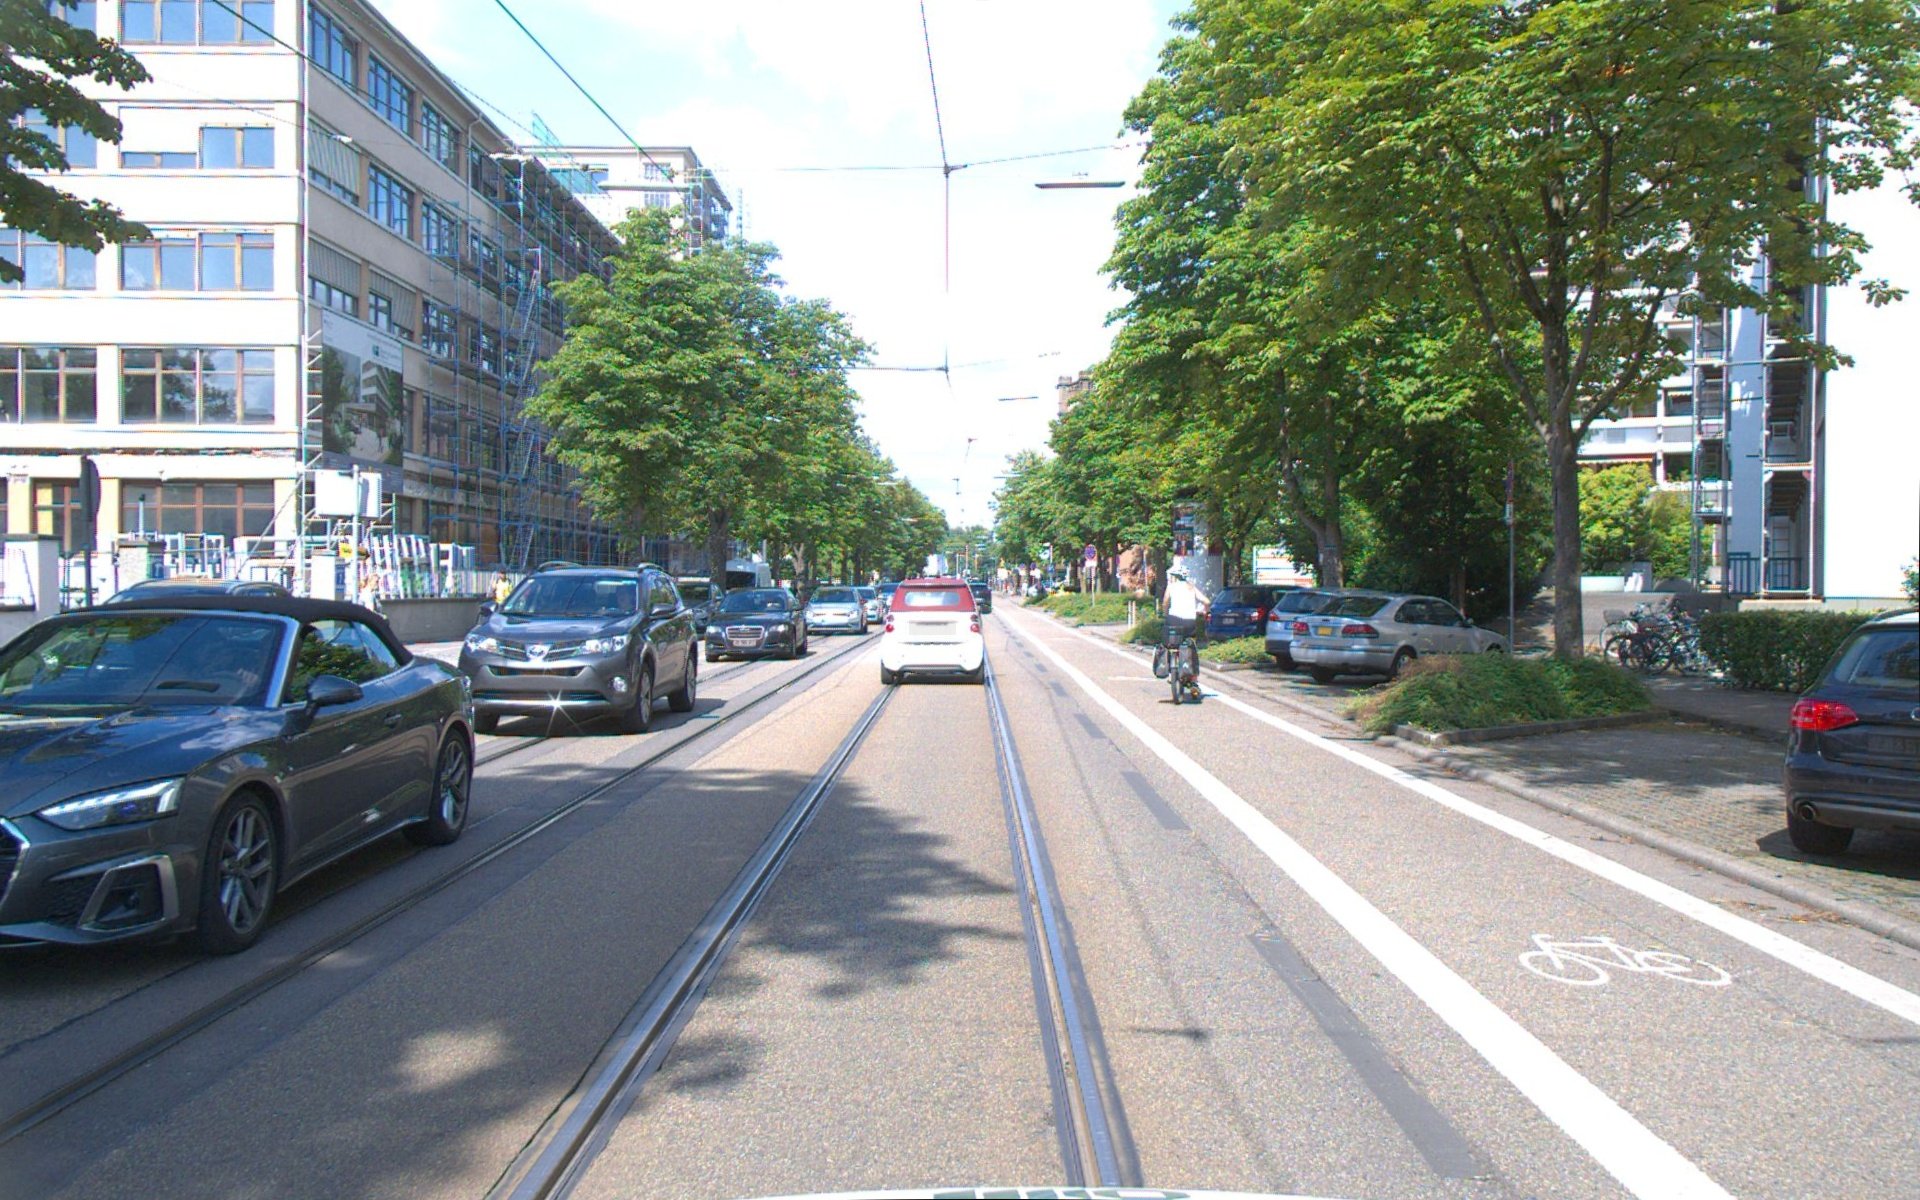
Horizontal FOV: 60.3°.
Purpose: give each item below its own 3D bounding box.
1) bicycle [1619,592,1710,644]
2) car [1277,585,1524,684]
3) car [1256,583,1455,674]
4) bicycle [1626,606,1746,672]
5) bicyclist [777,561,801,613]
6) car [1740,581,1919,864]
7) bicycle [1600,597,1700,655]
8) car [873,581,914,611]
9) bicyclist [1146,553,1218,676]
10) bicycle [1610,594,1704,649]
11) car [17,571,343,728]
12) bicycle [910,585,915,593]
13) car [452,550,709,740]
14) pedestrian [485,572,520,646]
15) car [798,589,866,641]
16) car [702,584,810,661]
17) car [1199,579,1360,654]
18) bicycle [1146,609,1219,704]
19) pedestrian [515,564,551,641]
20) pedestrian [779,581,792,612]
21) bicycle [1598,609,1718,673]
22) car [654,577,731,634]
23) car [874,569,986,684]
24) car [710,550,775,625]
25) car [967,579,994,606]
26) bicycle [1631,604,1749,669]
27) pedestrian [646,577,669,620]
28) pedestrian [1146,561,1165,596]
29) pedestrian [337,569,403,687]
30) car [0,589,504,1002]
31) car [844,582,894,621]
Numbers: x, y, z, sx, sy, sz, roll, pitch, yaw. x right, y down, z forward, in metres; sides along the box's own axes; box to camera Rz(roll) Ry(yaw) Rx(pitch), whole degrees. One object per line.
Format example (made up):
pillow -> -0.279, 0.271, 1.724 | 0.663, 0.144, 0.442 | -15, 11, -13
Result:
bicycle -> 15.400, 0.387, 36.175 | 1.793, 1.115, 0.450 | 0, 1, 31
car -> 7.180, 0.509, 26.769 | 4.200, 1.445, 1.700 | 0, 2, -38
car -> 7.177, 0.484, 29.880 | 3.772, 1.500, 1.628 | 0, 1, -42
bicycle -> 12.693, 0.673, 28.933 | 1.861, 1.115, 0.450 | -1, 1, 31
bicyclist -> -7.009, -0.526, 67.726 | 0.859, 2.049, 0.833 | -2, -1, -1
car -> 6.665, 0.695, 10.211 | 1.998, 1.467, 4.504 | 2, 0, 44
bicycle -> 13.778, 0.514, 33.050 | 1.793, 1.114, 0.450 | -1, 3, 31
car -> -3.523, -0.206, 88.741 | 1.762, 1.534, 4.538 | 1, 0, 3
bicyclist -> 2.914, 0.182, 21.810 | 0.871, 1.555, 1.086 | 1, 0, 6
bicycle -> 14.808, 0.446, 35.143 | 1.793, 1.115, 0.450 | 1, 1, 31
car -> -8.697, 0.491, 18.937 | 1.714, 1.543, 4.589 | 2, 0, -3
bicycle -> -5.646, -1.302, 196.780 | 0.606, 0.990, 1.716 | 0, 1, -4
car -> -3.883, 0.402, 17.673 | 1.788, 1.757, 4.390 | -1, 0, -1
pedestrian -> -11.566, 0.222, 41.848 | 0.693, 1.824, 0.661 | 1, 0, -6
car -> -3.812, 0.424, 49.826 | 1.737, 1.441, 3.851 | -2, 0, -1
car -> -4.042, 0.421, 33.332 | 1.688, 1.400, 3.999 | -2, 0, -1
car -> 7.105, 0.338, 36.594 | 1.589, 1.512, 3.973 | -1, 1, 44
bicycle -> 2.907, 0.711, 21.778 | 0.856, 1.145, 2.137 | 1, 0, 6
pedestrian -> -10.781, 0.060, 41.776 | 0.693, 1.863, 0.661 | 3, 1, -6
pedestrian -> -11.817, -0.229, 111.986 | 0.788, 2.049, 0.484 | 0, 0, -9
bicycle -> 12.118, 0.710, 28.727 | 1.861, 1.071, 0.450 | -1, 1, 31
car -> -8.523, 0.164, 52.980 | 1.768, 1.691, 4.103 | 2, 0, 0
car -> -0.452, 0.356, 25.779 | 1.631, 1.653, 3.620 | 0, 1, -1
car -> -8.334, -0.469, 63.653 | 1.733, 2.685, 5.322 | 1, 0, 0
car -> 1.247, -0.475, 102.576 | 1.631, 1.653, 3.620 | 0, 1, 0
bicycle -> 12.947, 0.647, 29.363 | 1.861, 1.115, 0.450 | -1, 1, 31
pedestrian -> -11.856, -0.049, 64.736 | 0.749, 1.648, 0.594 | 1, 0, 0
pedestrian -> 11.781, -1.276, 99.647 | 0.957, 2.049, 1.093 | 1, 0, -1
pedestrian -> -8.454, 0.395, 23.683 | 0.718, 1.665, 0.684 | 2, 0, -34
car -> -3.687, 0.671, 7.959 | 1.762, 1.412, 4.426 | 0, 1, 0
car -> -3.428, 0.036, 62.921 | 1.652, 1.430, 4.226 | 0, 0, 0
